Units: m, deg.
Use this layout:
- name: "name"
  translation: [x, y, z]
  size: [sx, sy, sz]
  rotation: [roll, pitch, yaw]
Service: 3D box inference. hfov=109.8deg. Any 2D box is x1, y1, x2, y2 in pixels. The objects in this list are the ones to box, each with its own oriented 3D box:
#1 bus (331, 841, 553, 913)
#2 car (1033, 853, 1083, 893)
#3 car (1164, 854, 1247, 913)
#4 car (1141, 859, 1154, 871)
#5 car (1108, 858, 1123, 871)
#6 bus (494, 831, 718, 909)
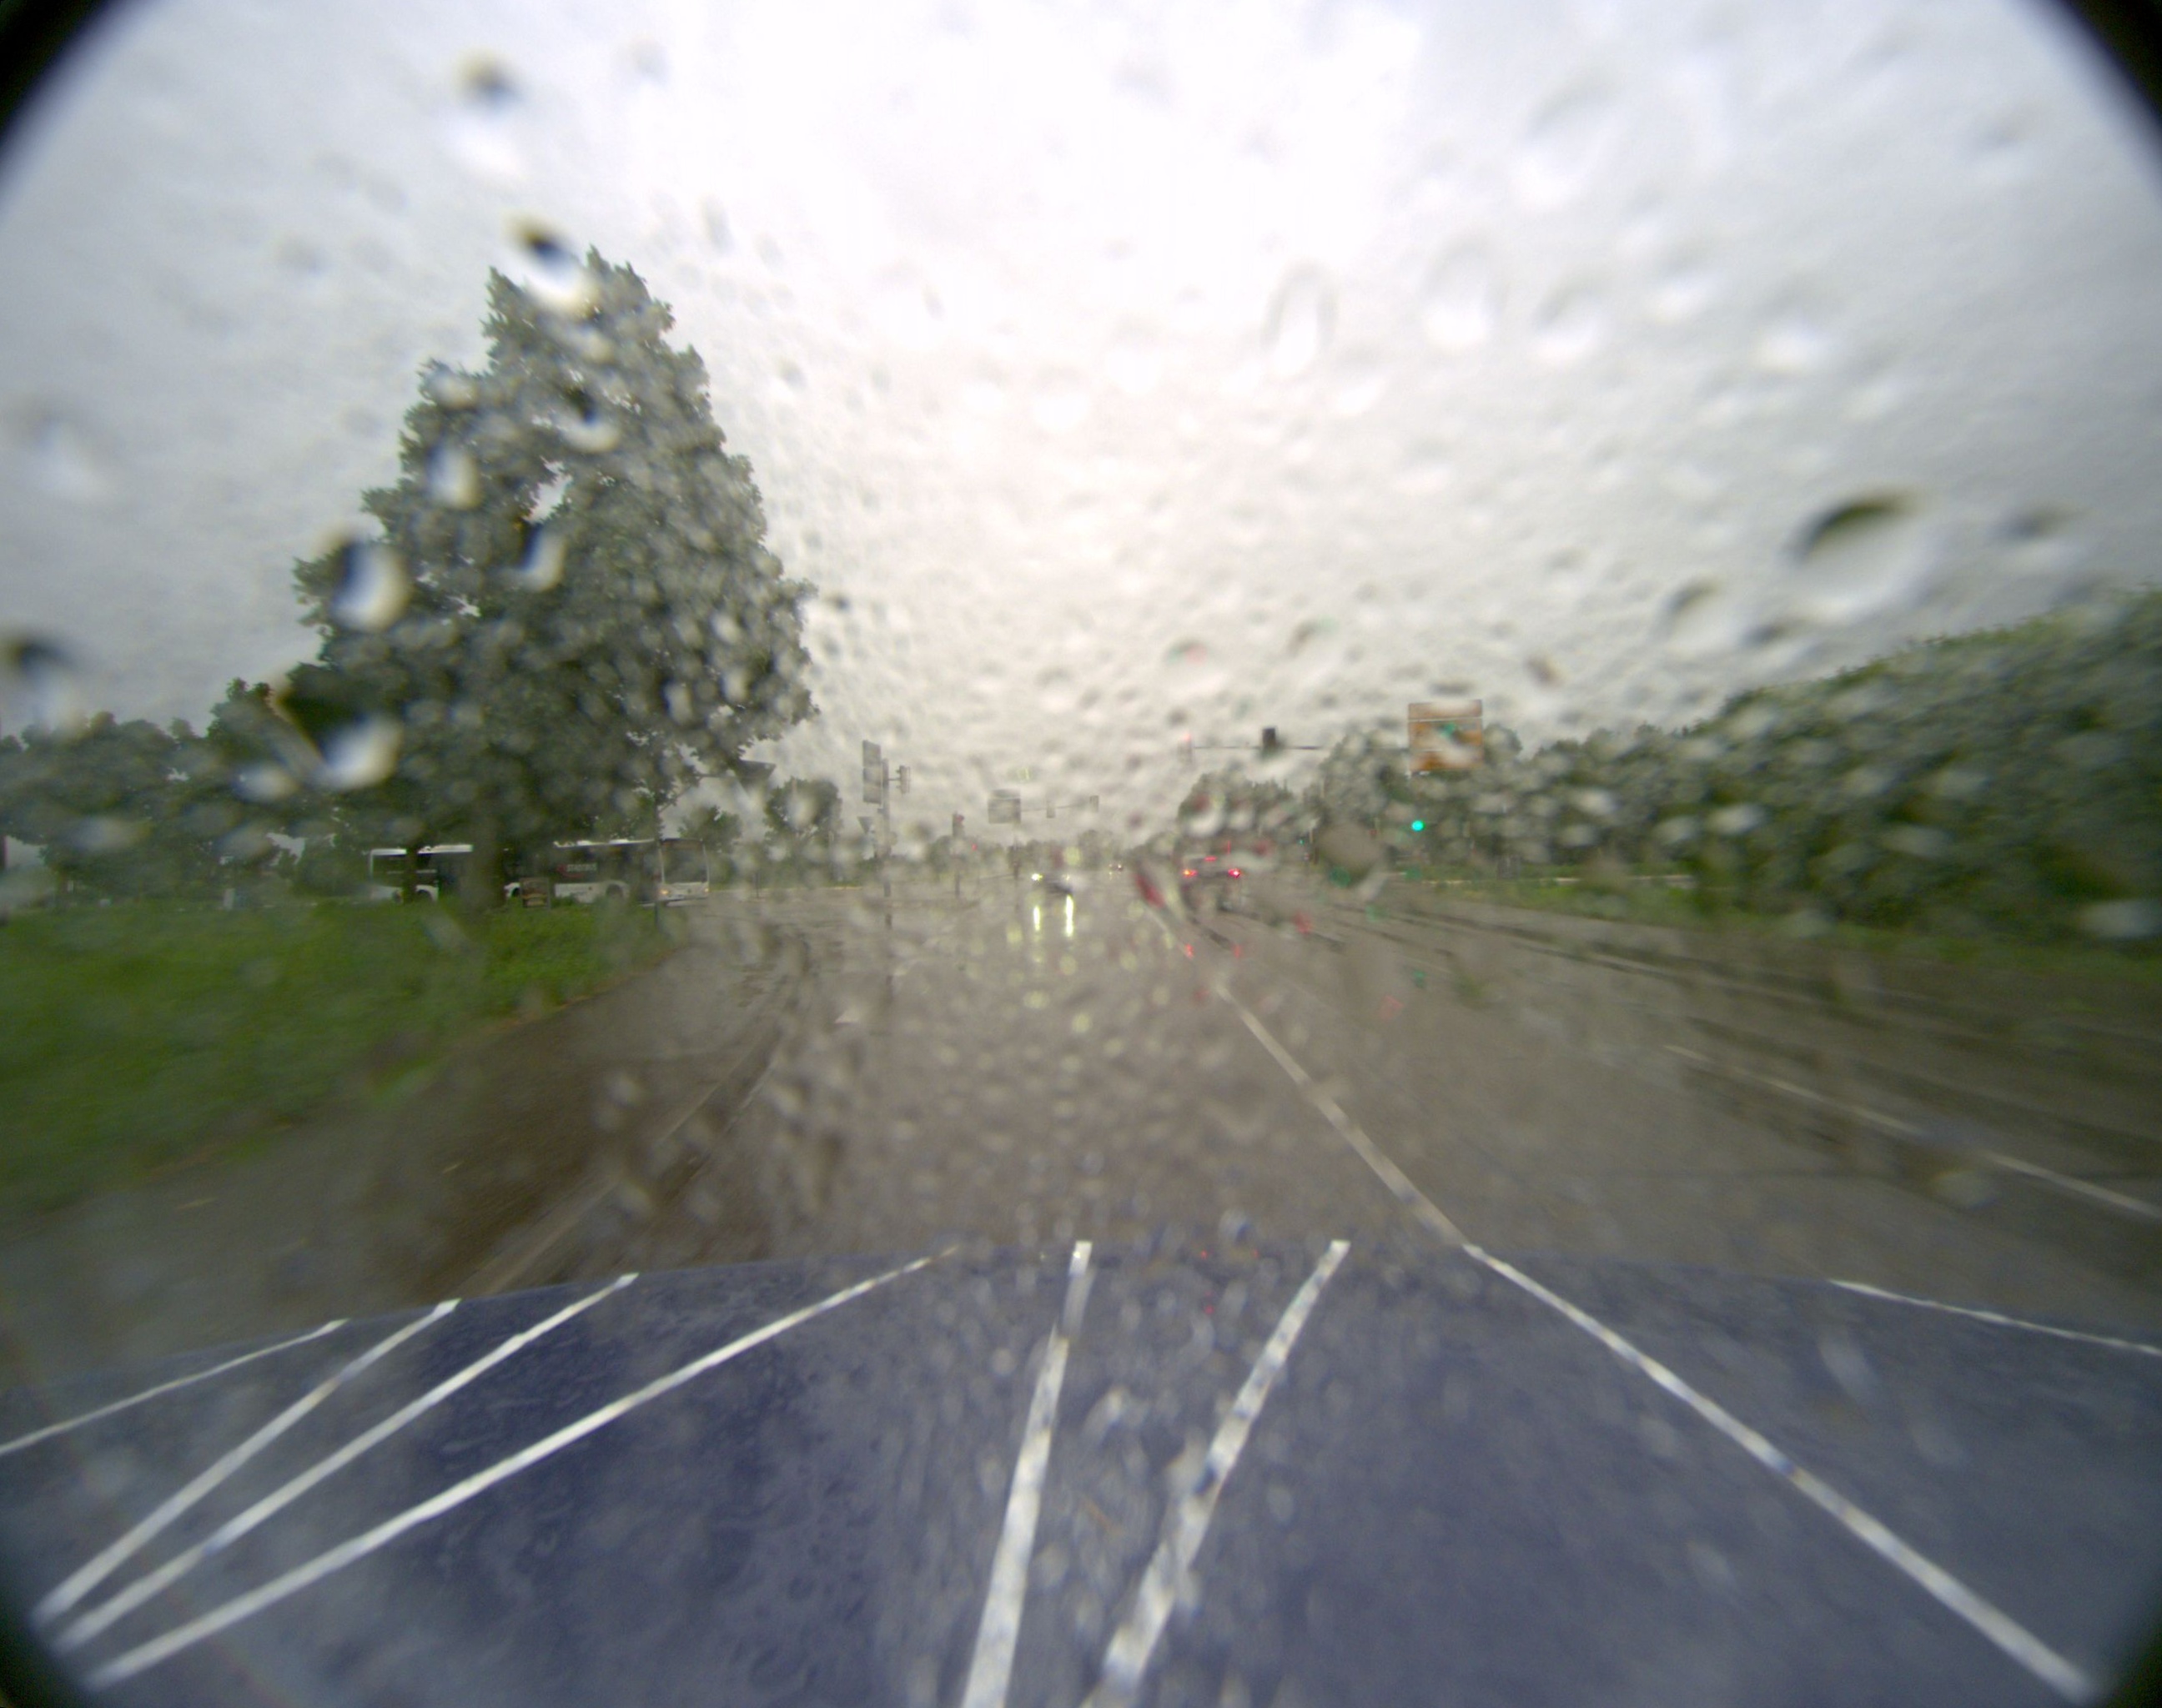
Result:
- name: "bus"
  translation: [-30.696, 1.089, 36.502]
  size: [9.976, 3.059, 2.681]
  rotation: [-2, 1, 14]
- name: "car"
  translation: [-0.993, 0.816, 35.158]
  size: [1.998, 1.622, 4.000]
  rotation: [-2, 1, 2]
- name: "car"
  translation: [3.532, 0.789, 22.224]
  size: [1.766, 1.528, 3.876]
  rotation: [-1, 1, 0]
- name: "car"
  translation: [9.277, 1.579, 106.052]
  size: [1.617, 1.510, 3.656]
  rotation: [-2, 1, 3]
- name: "car"
  translation: [5.767, 1.684, 126.407]
  size: [1.919, 2.002, 4.002]
  rotation: [-2, 1, 10]
- name: "bus"
  translation: [-21.070, 0.749, 33.610]
  size: [9.973, 3.059, 2.682]
  rotation: [-2, 1, 20]
